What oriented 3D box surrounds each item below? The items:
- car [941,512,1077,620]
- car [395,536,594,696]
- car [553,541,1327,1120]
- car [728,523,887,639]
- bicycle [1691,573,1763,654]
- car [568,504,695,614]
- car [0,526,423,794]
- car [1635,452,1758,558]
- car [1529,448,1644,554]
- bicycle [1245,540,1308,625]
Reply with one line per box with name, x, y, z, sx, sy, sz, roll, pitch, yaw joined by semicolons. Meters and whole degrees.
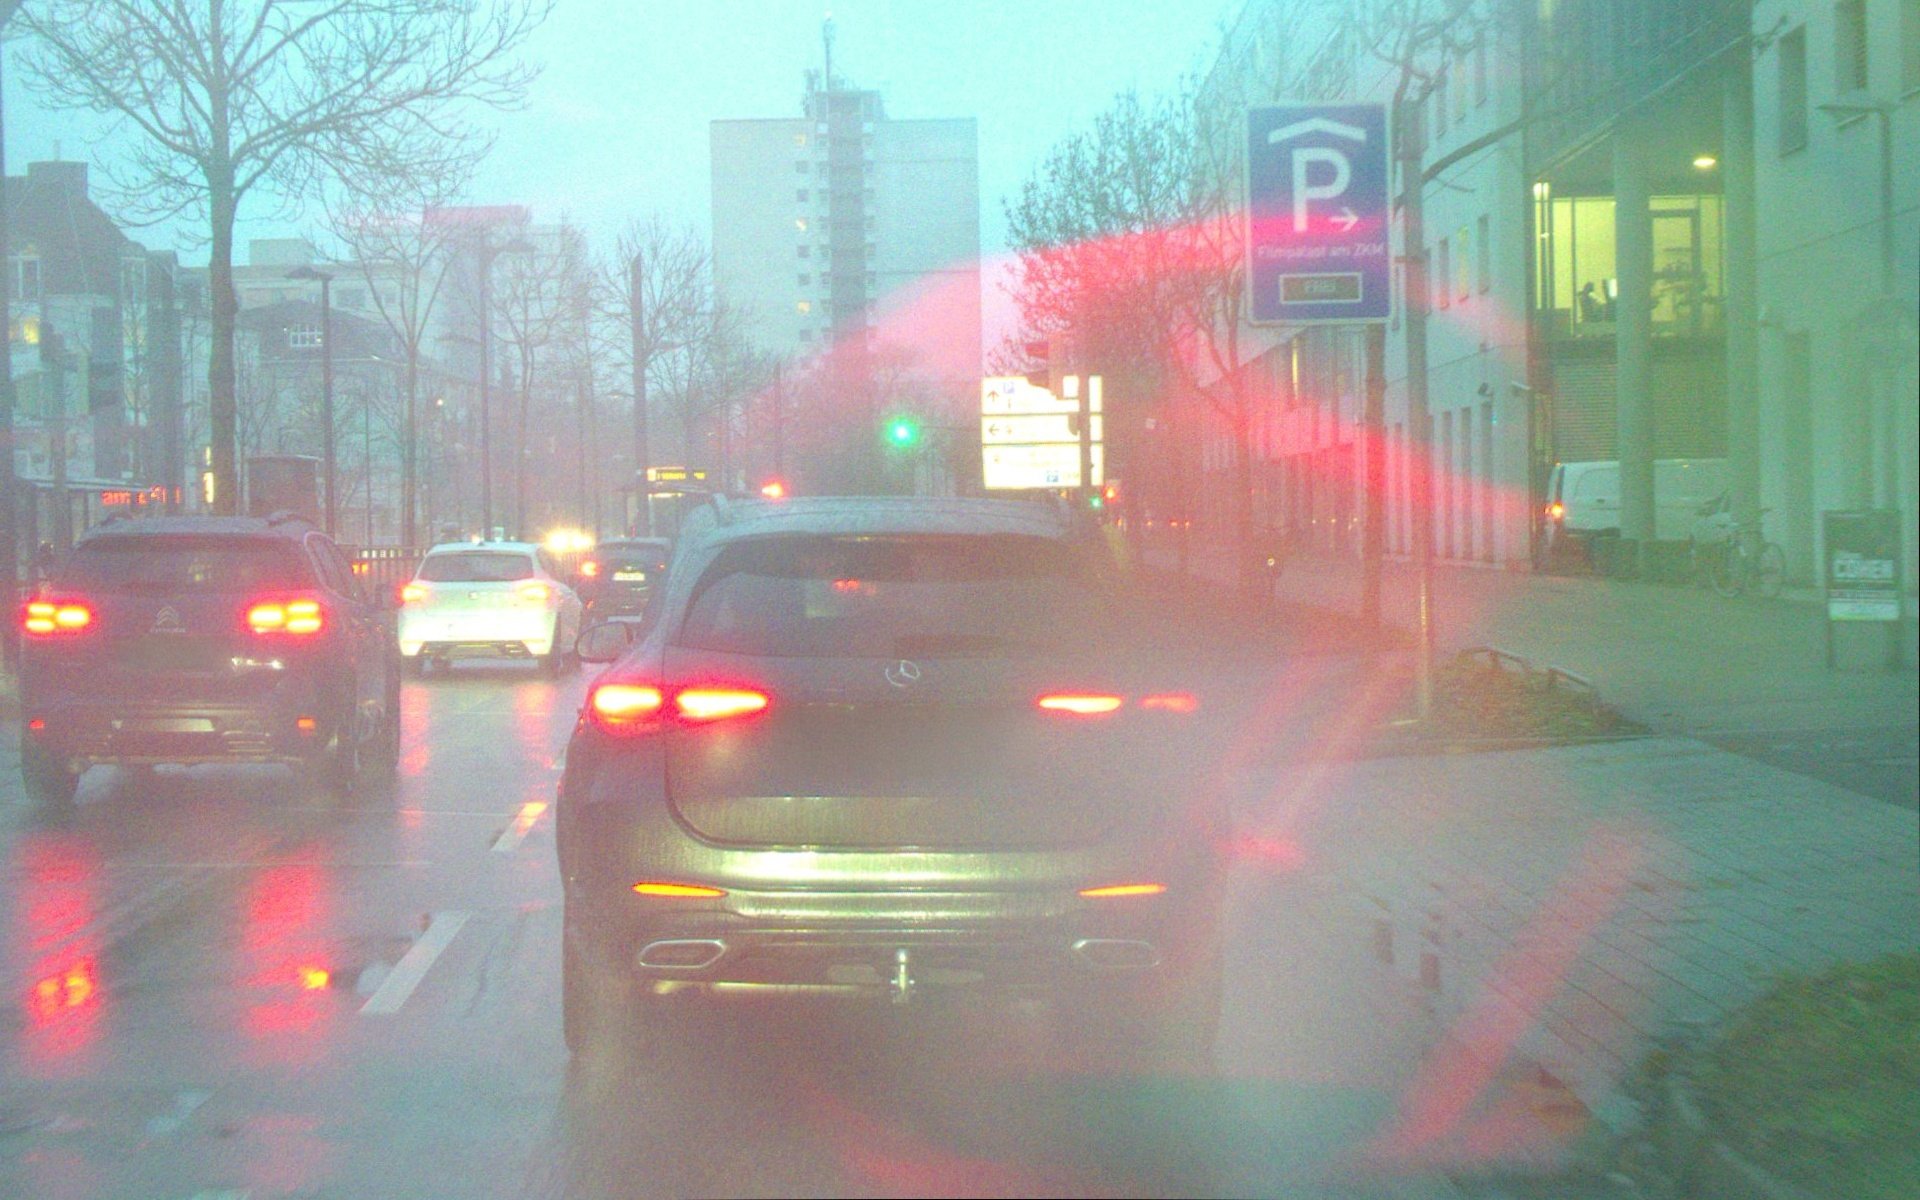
car;0.710;-0.534;51.825;1.849;1.550;3.432;1;1;-2
car;-5.048;0.136;37.647;1.689;1.629;3.474;1;1;0
car;-0.053;0.569;10.810;1.993;1.478;3.700;1;1;0
car;-2.120;-0.298;48.599;1.867;1.537;3.610;1;1;3
bicycle;9.269;0.157;41.574;0.373;0.926;1.081;0;3;-14
car;-5.430;-0.680;57.108;1.662;1.753;3.568;1;1;1
car;-4.444;0.290;20.933;1.817;1.445;4.001;1;1;-2
car;12.667;-1.625;59.299;1.627;1.753;3.421;1;1;5
car;10.803;-1.699;59.450;1.627;1.753;3.421;1;1;5
bicycle;3.693;-0.217;40.169;0.545;0.962;1.346;1;1;-2
